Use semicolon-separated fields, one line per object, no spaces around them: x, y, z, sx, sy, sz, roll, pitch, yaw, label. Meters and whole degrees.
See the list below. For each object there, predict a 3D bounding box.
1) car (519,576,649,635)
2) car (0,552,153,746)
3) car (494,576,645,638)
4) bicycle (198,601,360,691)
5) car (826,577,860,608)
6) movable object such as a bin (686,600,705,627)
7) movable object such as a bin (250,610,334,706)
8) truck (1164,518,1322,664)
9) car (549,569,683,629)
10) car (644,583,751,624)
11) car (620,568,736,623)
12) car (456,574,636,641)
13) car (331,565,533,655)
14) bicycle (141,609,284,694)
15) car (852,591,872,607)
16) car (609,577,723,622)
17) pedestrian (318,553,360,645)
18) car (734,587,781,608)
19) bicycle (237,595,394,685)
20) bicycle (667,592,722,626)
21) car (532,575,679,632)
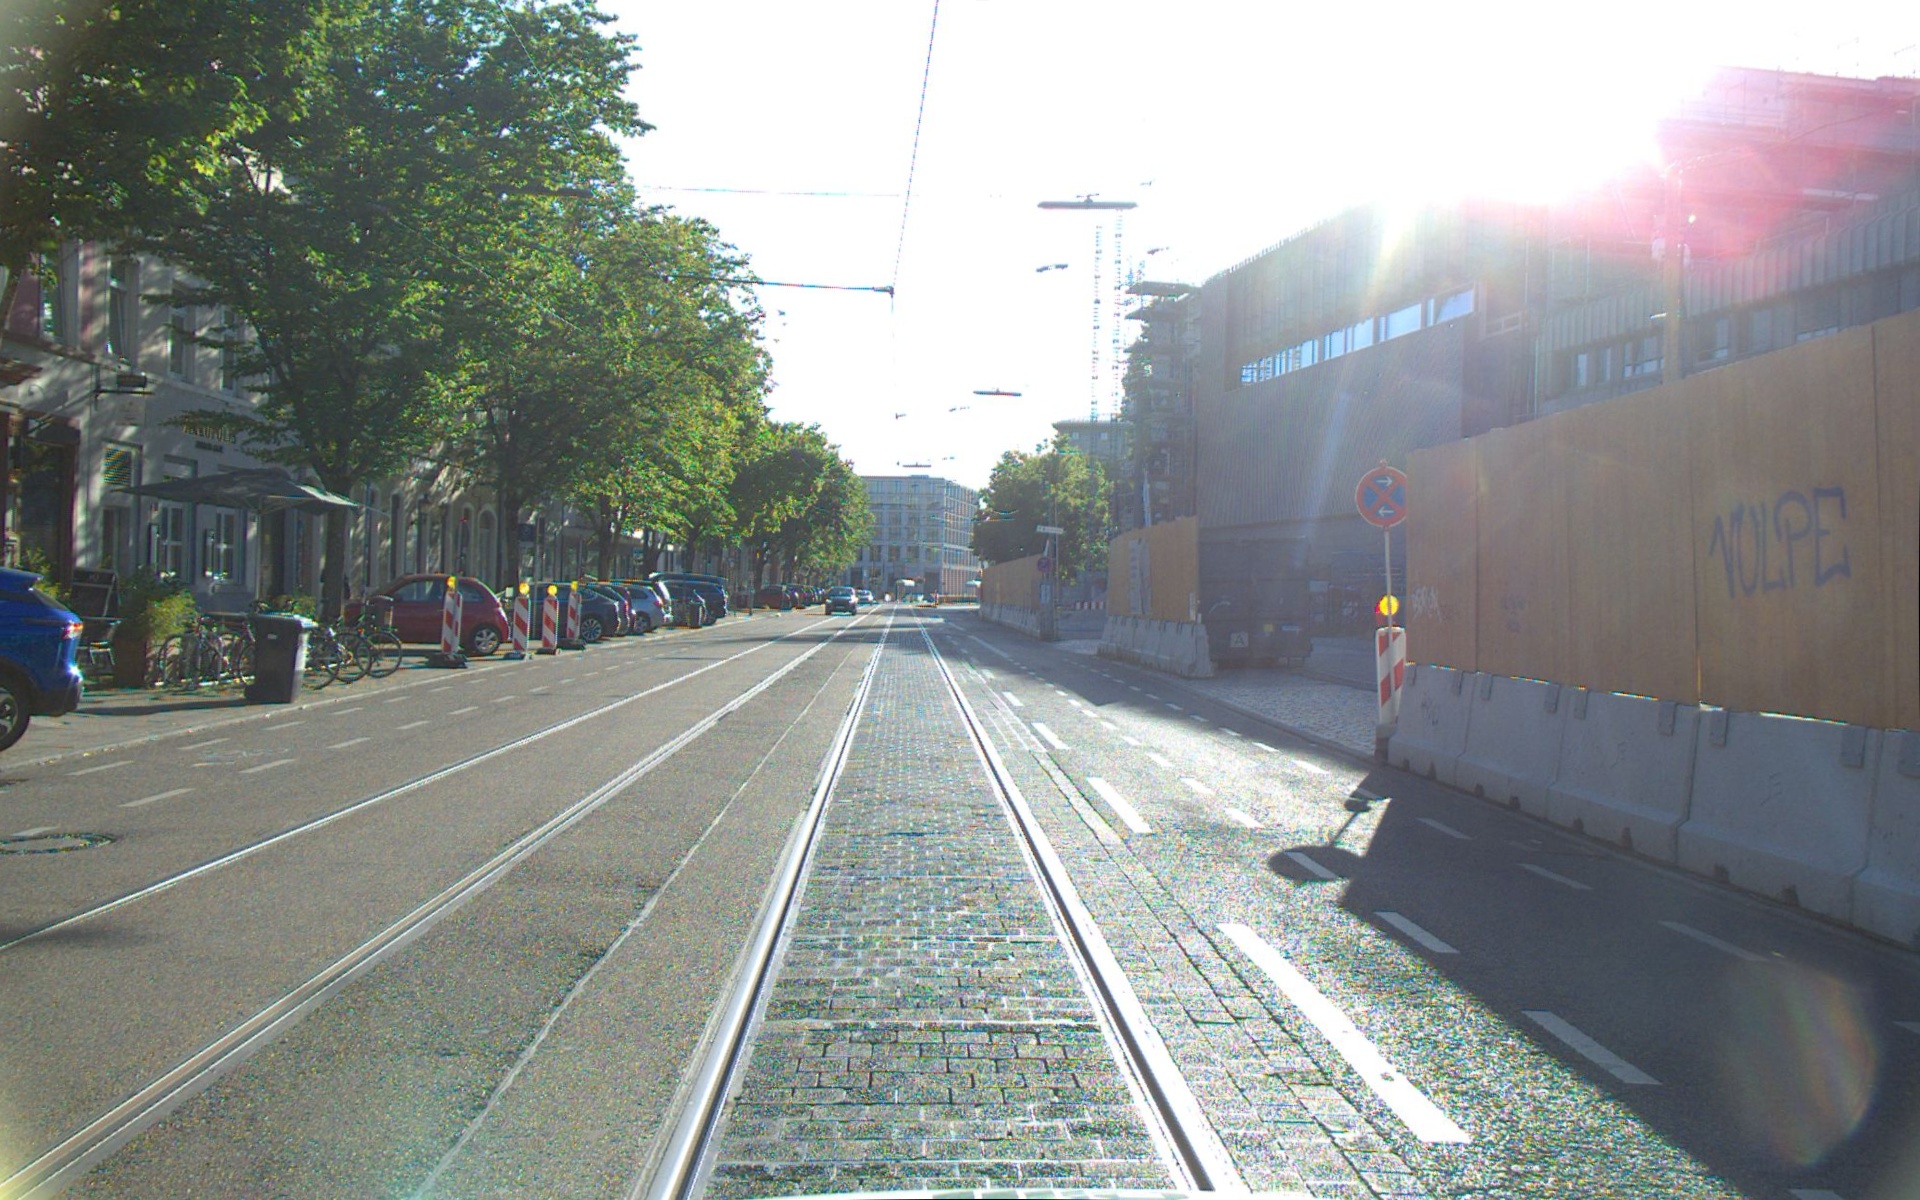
-10.947;0.165;48.147;3.327;1.519;1.597;3;0;-30;car
-9.171;0.373;14.057;3.863;1.637;1.551;3;-2;-39;car
-10.683;0.204;45.304;3.635;1.496;1.735;3;-1;-31;car
-9.335;0.621;22.702;1.928;1.098;0.568;4;0;0;bicycle
-6.975;-0.468;98.951;1.889;1.657;4.247;-2;1;-3;car
-9.695;0.503;60.543;0.566;0.929;0.572;3;1;-18;movable object such as a bin
-8.214;0.700;20.363;0.670;1.096;0.710;4;0;-1;movable object such as a bin
6.236;-0.214;37.216;2.468;2.959;5.506;-2;0;-1;truck
-11.285;-0.039;54.498;4.024;1.707;1.839;4;0;-5;car
-10.037;0.138;63.175;3.799;1.502;1.833;0;1;-20;car
-11.590;-0.179;68.042;4.296;2.021;1.935;3;0;-24;car
-10.677;0.190;42.706;4.143;1.517;1.925;3;0;-29;car
-10.547;0.203;33.037;3.572;1.580;1.654;3;1;-28;car
-9.480;0.650;21.017;1.572;1.005;0.388;3;0;-13;bicycle
-9.492;-0.130;160.993;1.674;1.461;4.171;1;0;0;car
-11.636;-0.013;65.465;4.178;1.714;1.798;0;1;-23;car
-14.116;-0.022;37.593;0.716;2.049;0.556;1;0;-1;pedestrian
-13.530;-0.182;110.432;2.902;1.355;1.203;0;0;-30;car
-9.350;0.573;24.031;1.962;1.106;0.567;5;0;0;bicycle
-9.846;0.341;61.366;1.937;1.164;0.490;3;0;-21;bicycle
-10.928;0.121;51.049;4.058;1.539;1.824;3;0;-29;car
